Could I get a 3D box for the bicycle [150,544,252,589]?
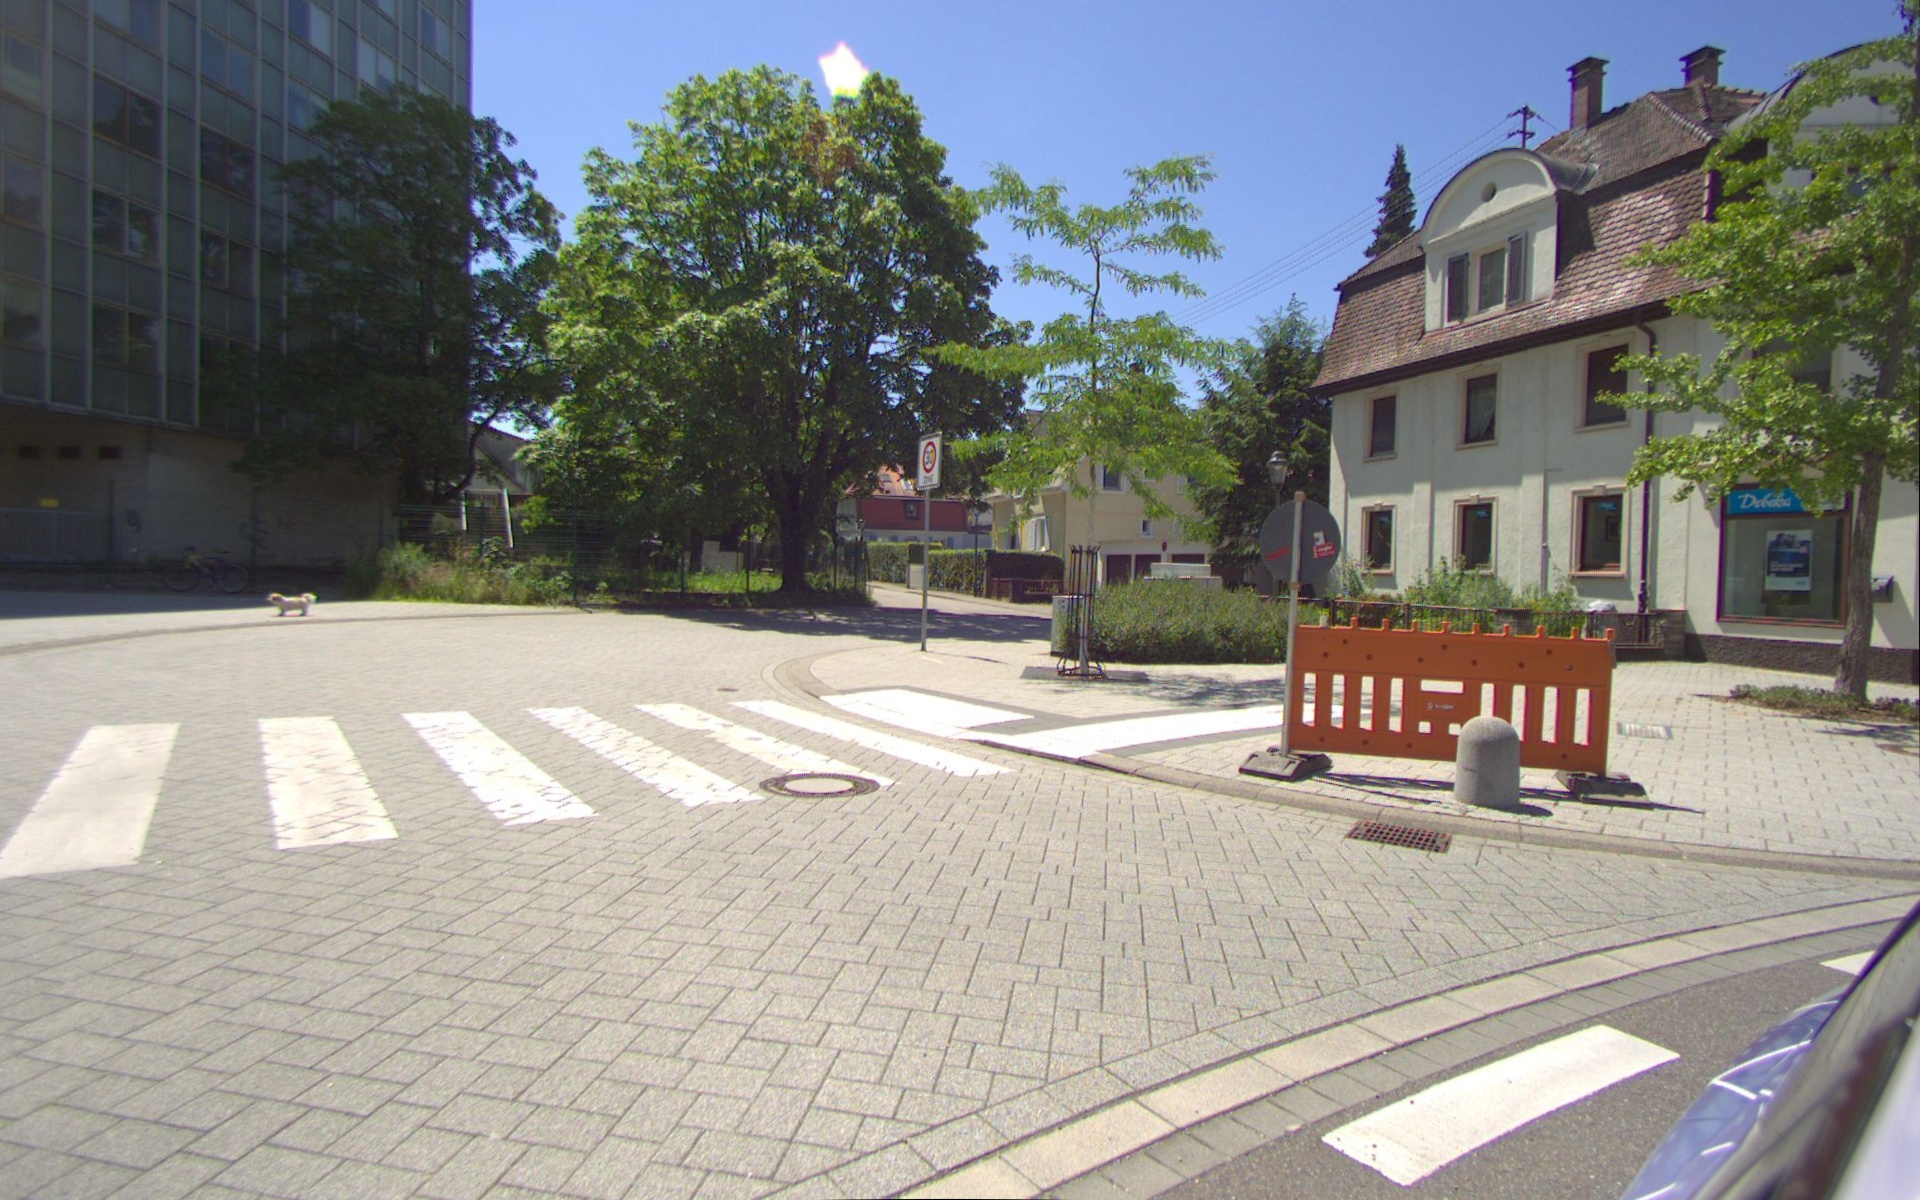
[{"bbox_3d":[-16.290,-0.718,21.738,1.717,0.918,0.449,1,2,-12],"label":"bicycle"}]
